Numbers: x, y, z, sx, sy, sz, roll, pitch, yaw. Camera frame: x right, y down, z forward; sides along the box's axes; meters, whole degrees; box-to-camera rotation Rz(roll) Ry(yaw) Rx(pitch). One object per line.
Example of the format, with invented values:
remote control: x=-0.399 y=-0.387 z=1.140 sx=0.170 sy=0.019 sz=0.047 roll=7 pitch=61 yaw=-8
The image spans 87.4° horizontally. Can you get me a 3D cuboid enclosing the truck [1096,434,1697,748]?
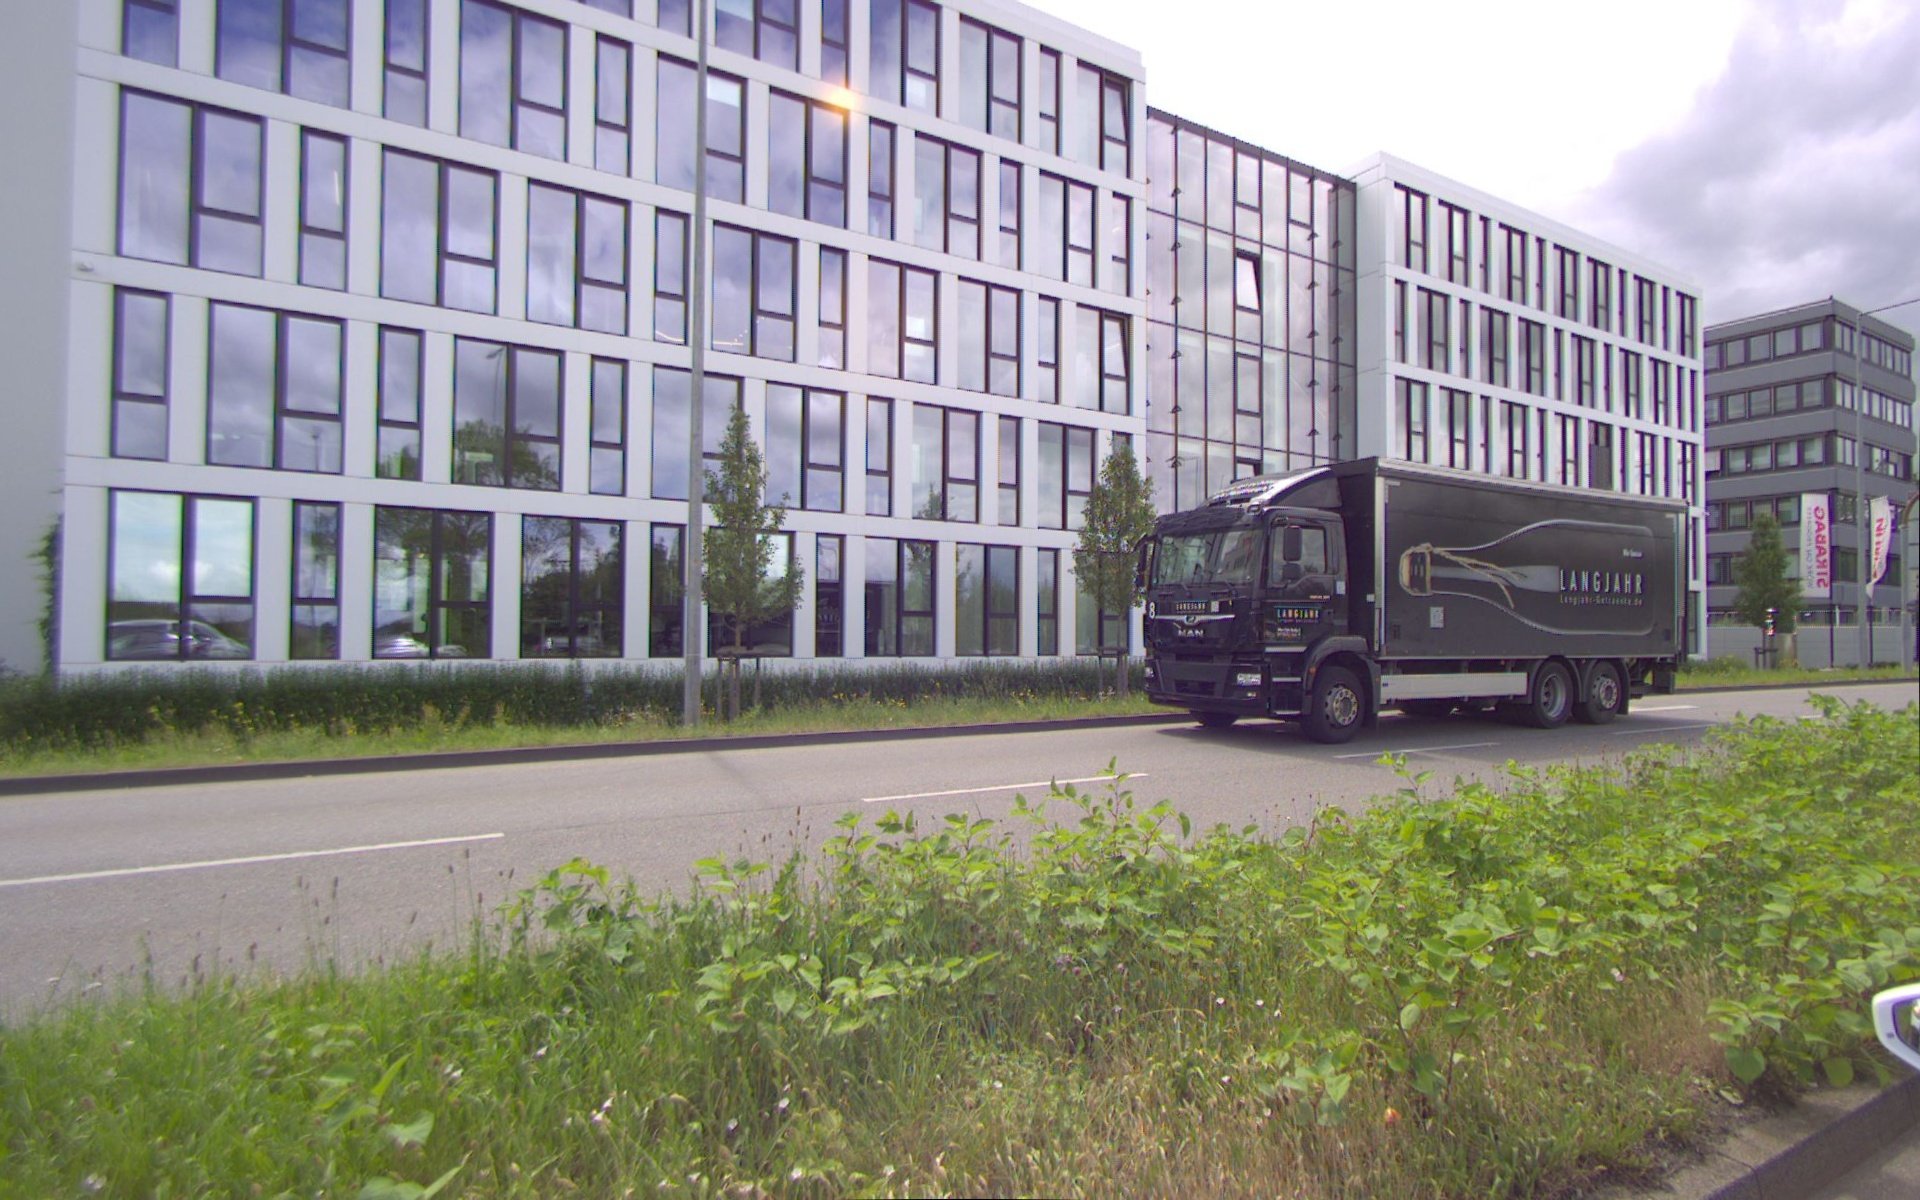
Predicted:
truck: x=6.793 y=-0.021 z=15.040 sx=9.408 sy=3.565 sz=3.154 roll=1 pitch=-1 yaw=-29
